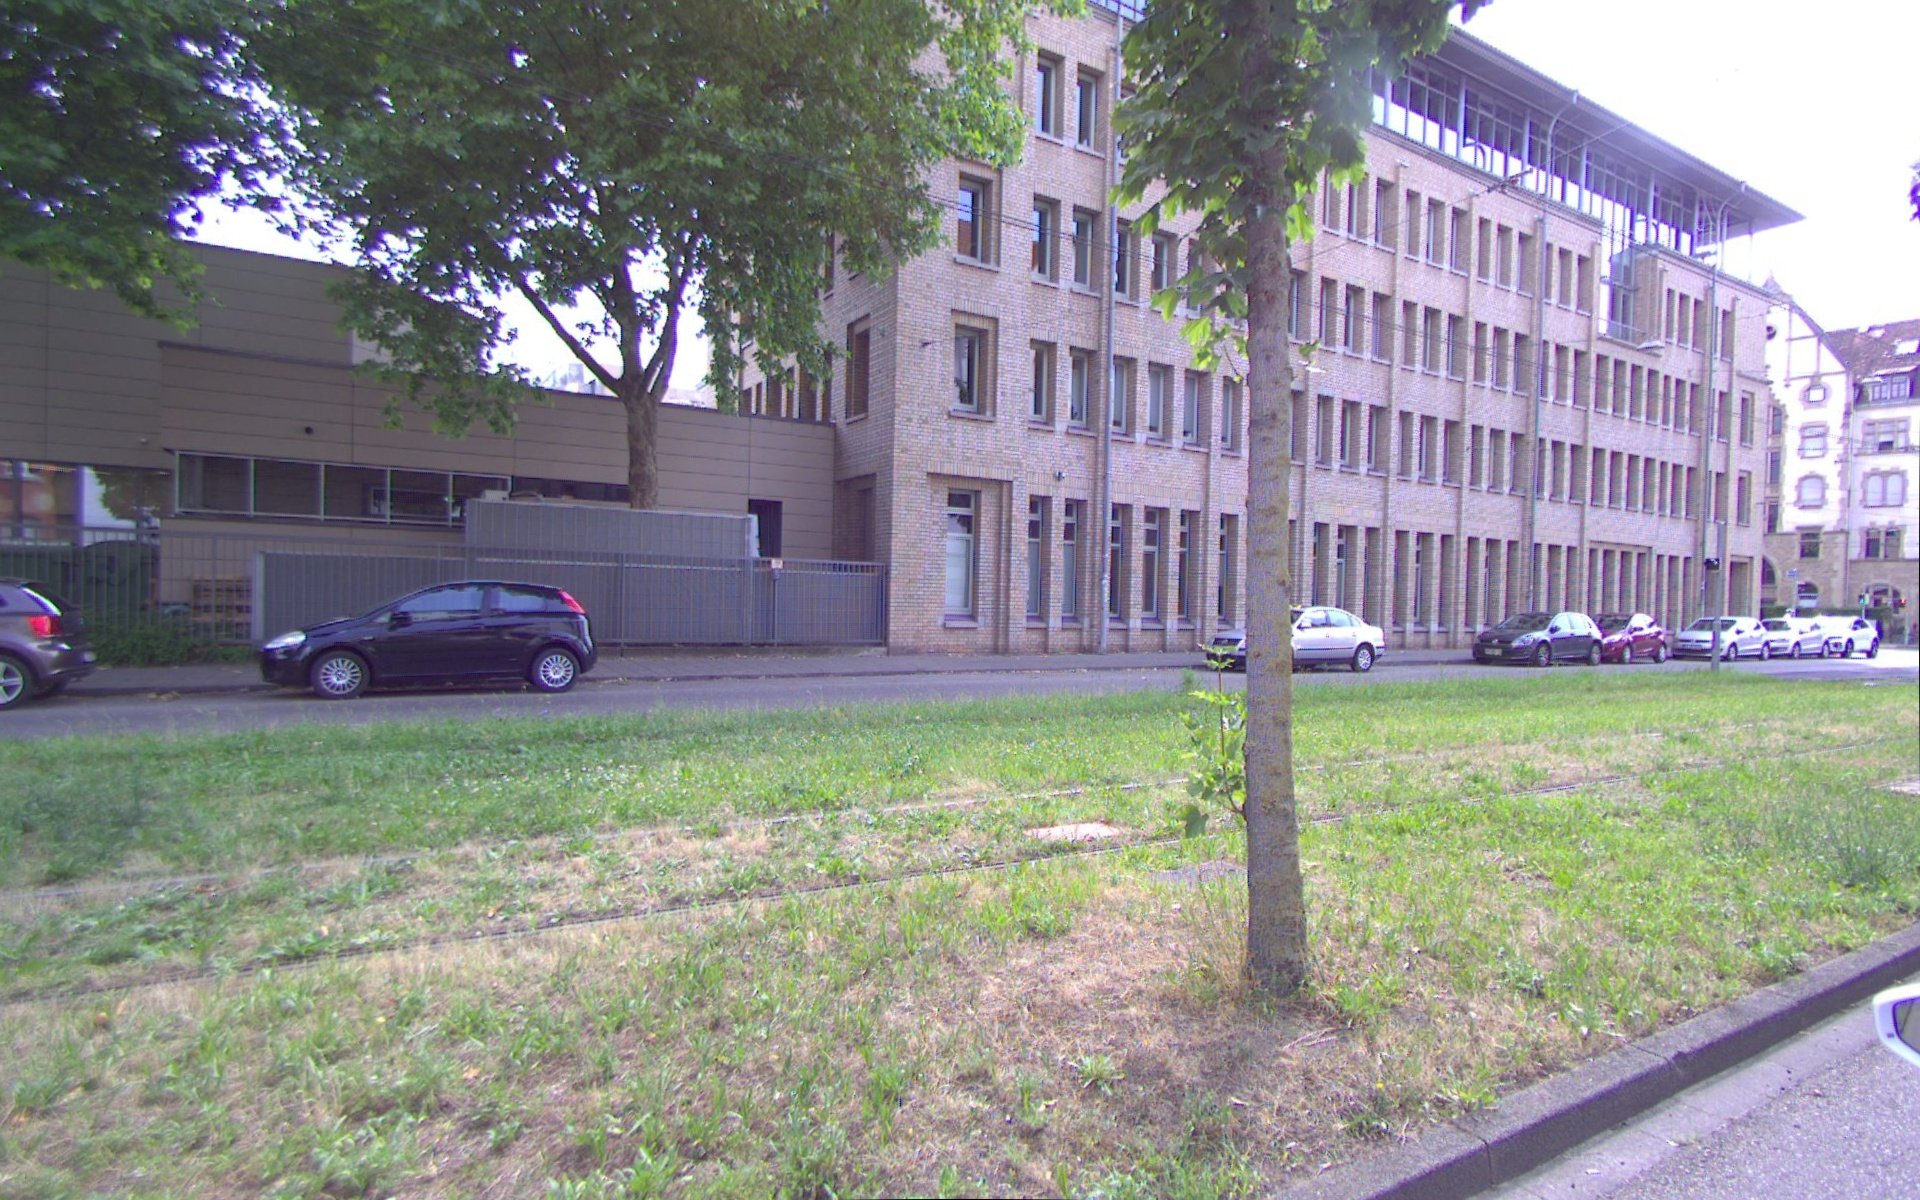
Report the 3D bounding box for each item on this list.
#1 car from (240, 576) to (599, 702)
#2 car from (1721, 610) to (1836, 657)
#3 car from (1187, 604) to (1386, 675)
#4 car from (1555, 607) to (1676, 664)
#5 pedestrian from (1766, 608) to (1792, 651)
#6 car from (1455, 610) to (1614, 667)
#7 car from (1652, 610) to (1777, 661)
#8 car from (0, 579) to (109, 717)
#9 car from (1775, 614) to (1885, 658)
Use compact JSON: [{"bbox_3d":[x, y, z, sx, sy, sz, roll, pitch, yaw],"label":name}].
[{"bbox_3d":[-7.039,0.484,13.414,3.950,1.472,1.795,1,0,-28],"label":"car"},{"bbox_3d":[29.572,1.193,36.288,3.967,1.551,1.924,1,0,-30],"label":"car"},{"bbox_3d":[7.310,0.852,22.380,4.431,1.415,1.707,1,0,-30],"label":"car"},{"bbox_3d":[19.560,1.044,29.951,3.507,1.551,1.575,1,0,-30],"label":"car"},{"bbox_3d":[36.007,1.291,44.180,0.749,1.819,0.957,2,1,34],"label":"pedestrian"},{"bbox_3d":[15.762,1.032,27.534,4.189,1.415,1.924,1,0,-30],"label":"car"},{"bbox_3d":[25.119,1.157,33.429,4.160,1.551,1.842,1,0,-30],"label":"car"},{"bbox_3d":[-11.678,0.473,10.609,3.857,1.445,1.546,1,0,-31],"label":"car"},{"bbox_3d":[33.424,1.379,38.562,4.207,1.555,1.924,1,0,-30],"label":"car"}]
